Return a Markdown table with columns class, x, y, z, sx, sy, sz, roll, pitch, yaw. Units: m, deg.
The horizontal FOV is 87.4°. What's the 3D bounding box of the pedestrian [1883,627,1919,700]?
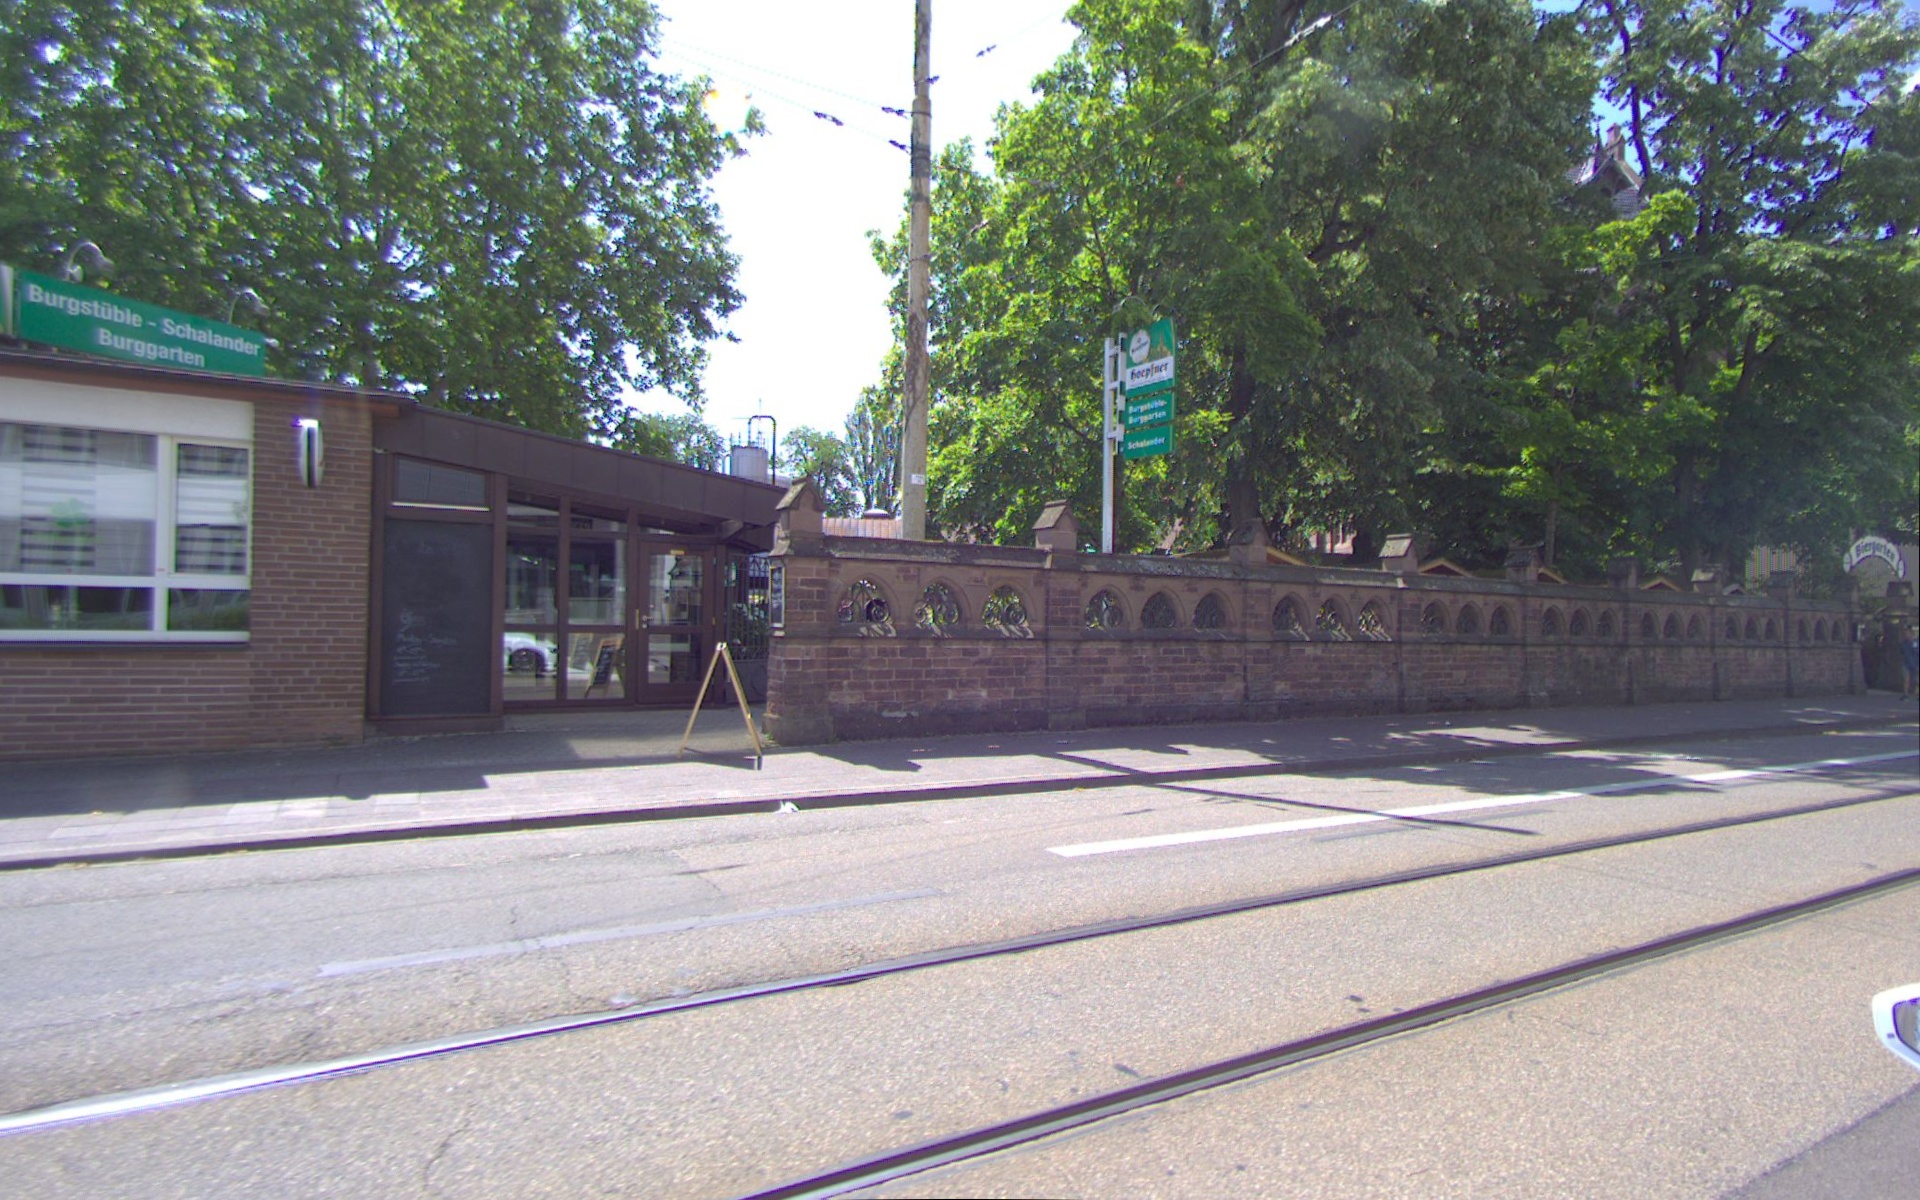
| class | x | y | z | sx | sy | sz | roll | pitch | yaw |
| --- | --- | --- | --- | --- | --- | --- | --- | --- | --- |
| pedestrian | 23.382 | 1.548 | 24.717 | 0.857 | 1.751 | 0.739 | 2 | -1 | -30 |
